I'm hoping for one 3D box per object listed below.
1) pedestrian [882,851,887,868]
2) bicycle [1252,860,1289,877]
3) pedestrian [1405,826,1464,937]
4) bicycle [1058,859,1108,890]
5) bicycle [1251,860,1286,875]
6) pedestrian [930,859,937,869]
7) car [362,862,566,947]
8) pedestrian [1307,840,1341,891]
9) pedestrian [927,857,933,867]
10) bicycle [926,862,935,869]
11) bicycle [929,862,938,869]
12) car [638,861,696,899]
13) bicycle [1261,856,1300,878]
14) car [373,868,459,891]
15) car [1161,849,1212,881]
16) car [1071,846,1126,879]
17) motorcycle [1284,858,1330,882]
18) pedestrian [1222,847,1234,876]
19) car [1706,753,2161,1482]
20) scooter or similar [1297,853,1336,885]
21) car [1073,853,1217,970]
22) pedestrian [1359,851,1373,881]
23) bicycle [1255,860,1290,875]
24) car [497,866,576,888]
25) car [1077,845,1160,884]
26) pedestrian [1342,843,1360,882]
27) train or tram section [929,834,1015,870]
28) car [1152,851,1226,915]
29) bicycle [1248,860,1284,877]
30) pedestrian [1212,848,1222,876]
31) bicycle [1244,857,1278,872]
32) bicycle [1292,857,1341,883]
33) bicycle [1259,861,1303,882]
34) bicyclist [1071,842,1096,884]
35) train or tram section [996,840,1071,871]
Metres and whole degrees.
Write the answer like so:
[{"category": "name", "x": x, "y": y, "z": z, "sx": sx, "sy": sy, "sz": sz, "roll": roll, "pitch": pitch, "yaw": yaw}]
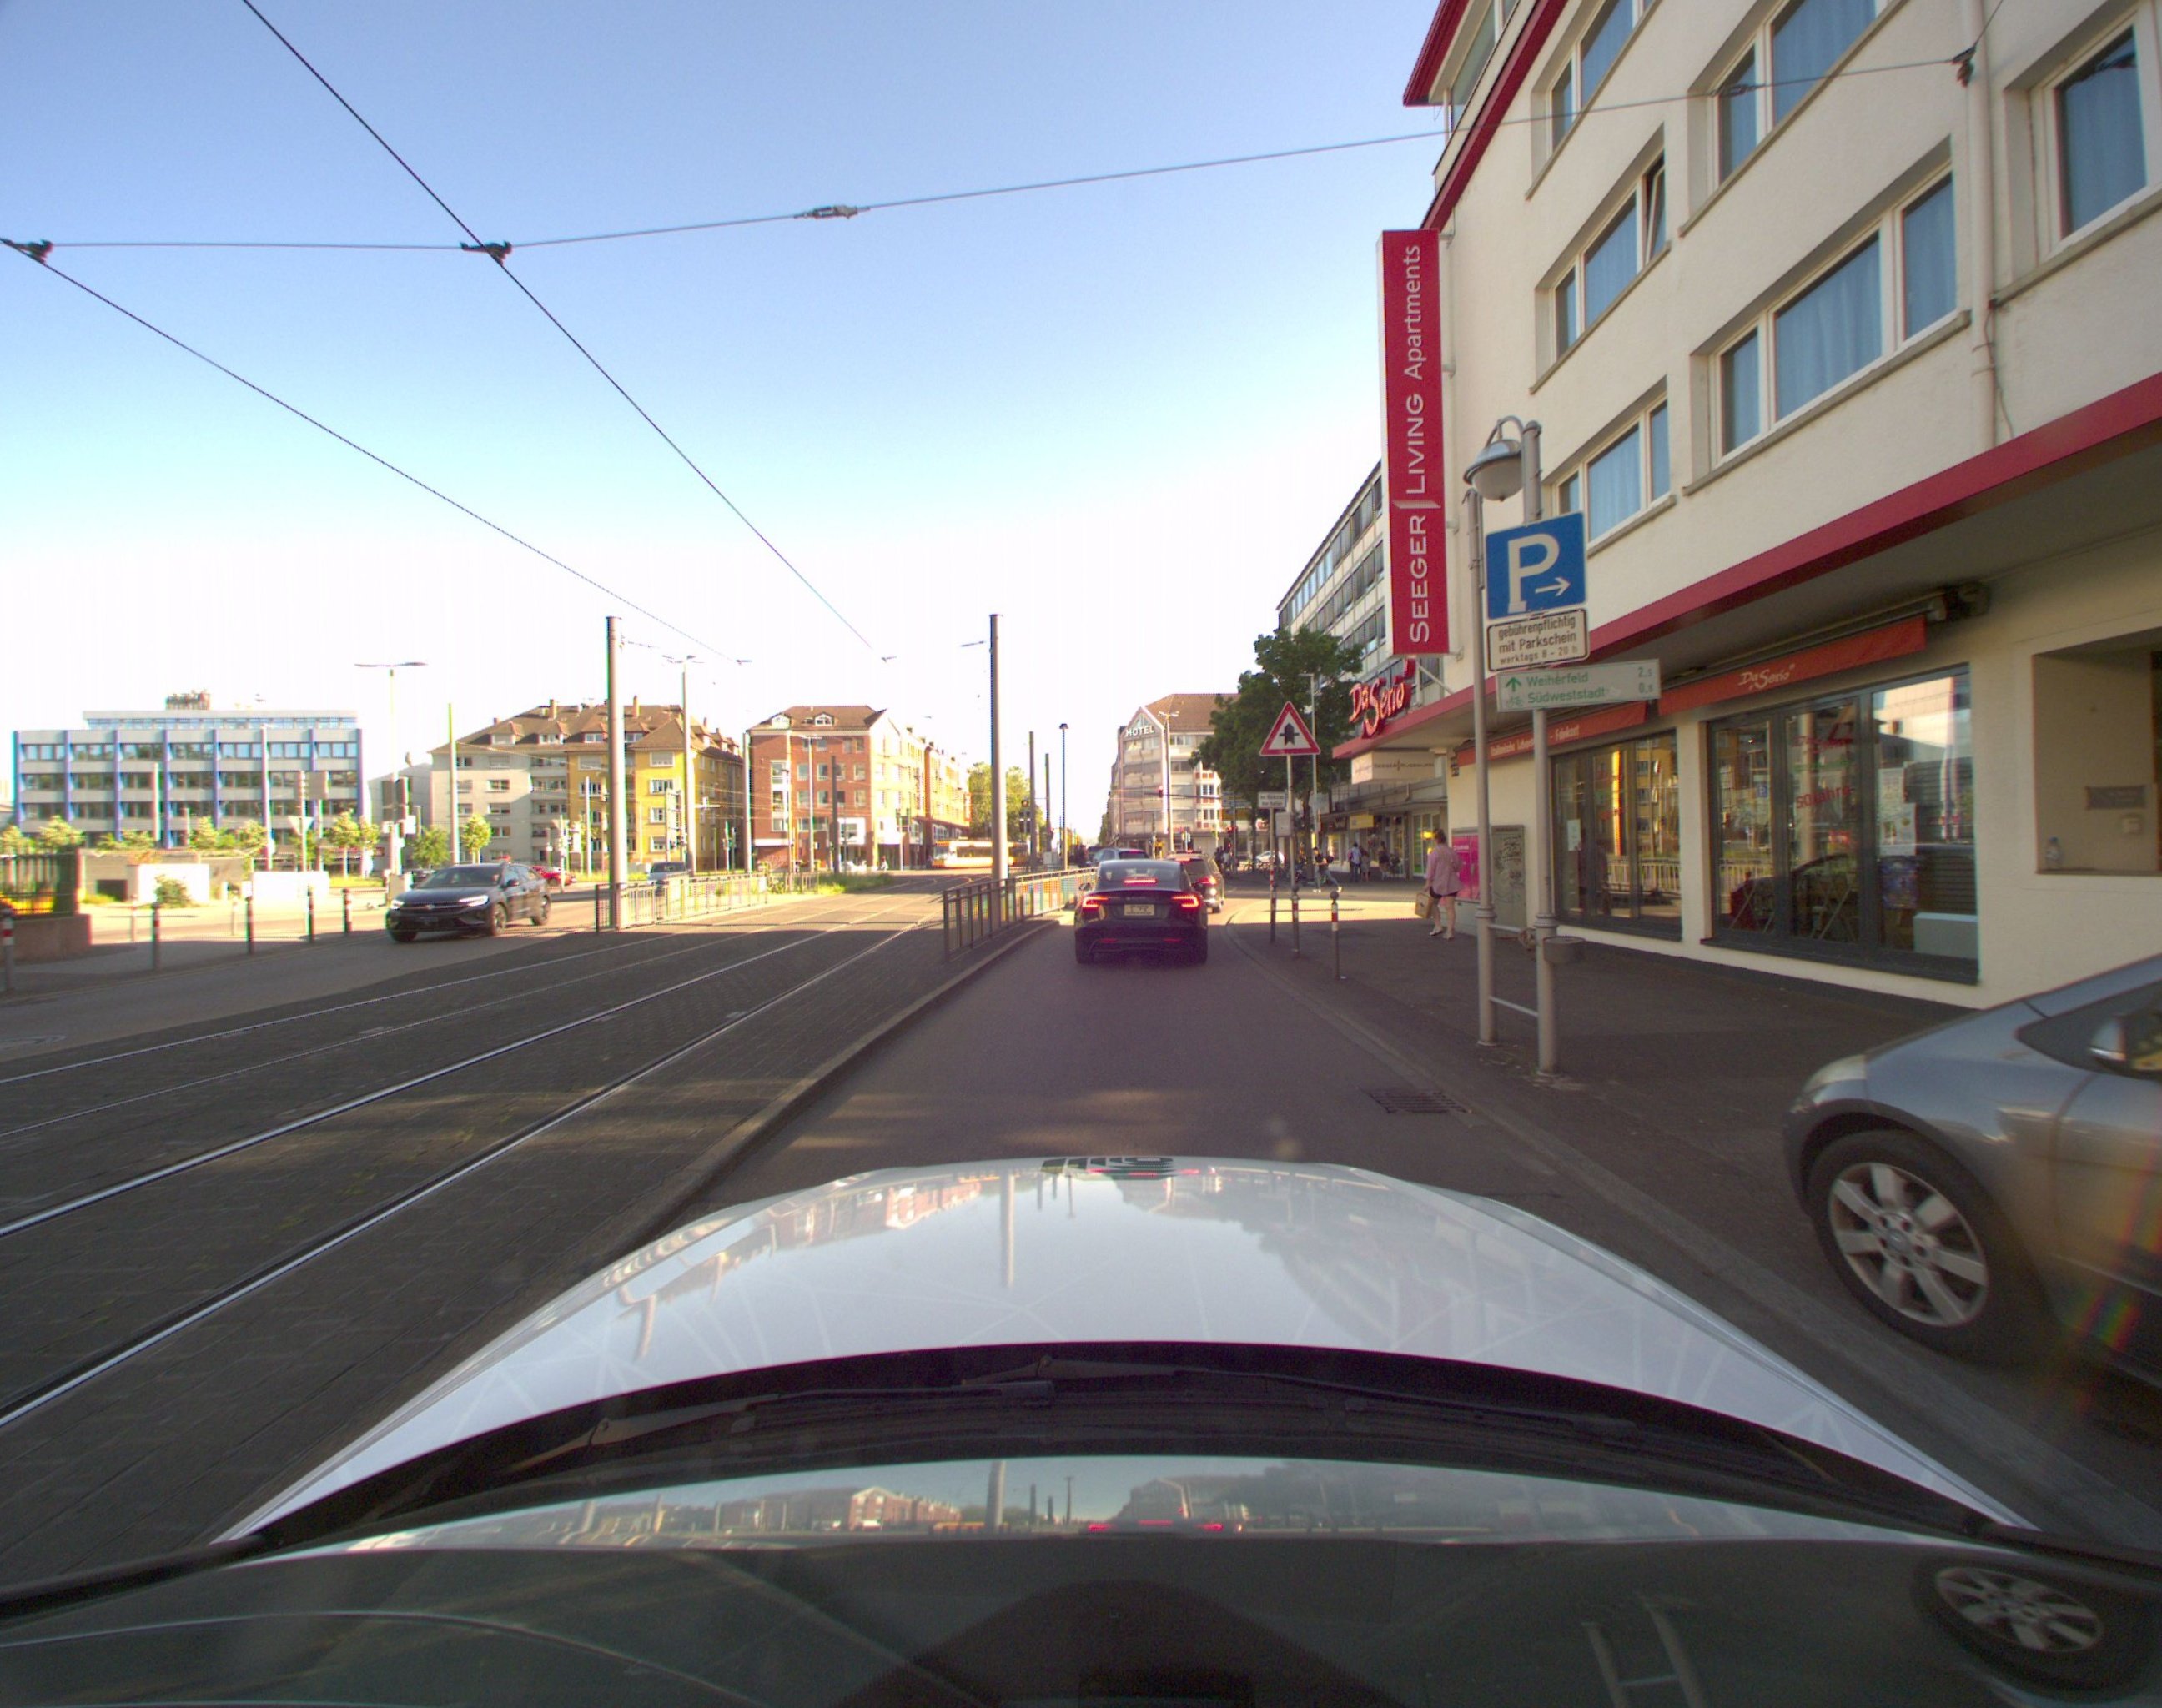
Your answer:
[{"category": "pedestrian", "x": -23.685, "y": 0.705, "z": 98.135, "sx": 0.565, "sy": 2.014, "sz": 0.349, "roll": 1, "pitch": -1, "yaw": -14}, {"category": "bicycle", "x": 10.520, "y": 0.800, "z": 45.259, "sx": 1.917, "sy": 0.950, "sz": 0.526, "roll": 0, "pitch": -1, "yaw": 2}, {"category": "pedestrian", "x": 5.588, "y": 0.417, "z": 12.877, "sx": 0.810, "sy": 1.683, "sz": 0.718, "roll": 1, "pitch": -1, "yaw": 24}, {"category": "bicycle", "x": 0.065, "y": 0.751, "z": 29.655, "sx": 1.726, "sy": 1.088, "sz": 0.676, "roll": 1, "pitch": -1, "yaw": -7}, {"category": "bicycle", "x": 11.115, "y": 0.787, "z": 48.317, "sx": 1.917, "sy": 0.890, "sz": 0.526, "roll": 0, "pitch": -1, "yaw": 2}, {"category": "pedestrian", "x": -19.767, "y": 1.303, "z": 109.146, "sx": 0.694, "sy": 1.308, "sz": 0.564, "roll": -1, "pitch": 0, "yaw": 0}, {"category": "car", "x": -12.786, "y": 0.945, "z": 17.242, "sx": 1.766, "sy": 1.512, "sz": 4.262, "roll": -1, "pitch": 0, "yaw": -12}, {"category": "pedestrian", "x": 8.399, "y": 0.406, "z": 28.158, "sx": 1.009, "sy": 1.742, "sz": 0.524, "roll": 1, "pitch": -1, "yaw": -24}, {"category": "pedestrian", "x": -19.805, "y": 1.074, "z": 106.943, "sx": 0.708, "sy": 1.342, "sz": 0.666, "roll": -1, "pitch": 0, "yaw": 1}, {"category": "bicycle", "x": -19.795, "y": 1.550, "z": 106.998, "sx": 0.699, "sy": 0.855, "sz": 2.054, "roll": -1, "pitch": 0, "yaw": 1}, {"category": "bicycle", "x": -19.768, "y": 1.516, "z": 109.254, "sx": 0.699, "sy": 0.855, "sz": 2.054, "roll": -1, "pitch": 0, "yaw": 1}, {"category": "car", "x": -19.272, "y": 1.168, "z": 38.095, "sx": 1.788, "sy": 1.568, "sz": 4.264, "roll": -2, "pitch": 0, "yaw": -19}, {"category": "bicycle", "x": 10.370, "y": 0.686, "z": 42.408, "sx": 1.917, "sy": 1.097, "sz": 0.555, "roll": 0, "pitch": -1, "yaw": 2}, {"category": "car", "x": -45.623, "y": 1.741, "z": 55.949, "sx": 4.143, "sy": 1.490, "sz": 1.933, "roll": 0, "pitch": 0, "yaw": -8}, {"category": "car", "x": 5.183, "y": 0.531, "z": 40.281, "sx": 1.821, "sy": 1.519, "sz": 3.644, "roll": 1, "pitch": 0, "yaw": -4}, {"category": "car", "x": 0.795, "y": 0.390, "z": 40.179, "sx": 1.825, "sy": 1.519, "sz": 4.201, "roll": 1, "pitch": 0, "yaw": -11}, {"category": "motorcycle", "x": 10.575, "y": 0.746, "z": 38.145, "sx": 1.984, "sy": 1.128, "sz": 0.596, "roll": 1, "pitch": -1, "yaw": 1}, {"category": "pedestrian", "x": 8.364, "y": 0.415, "z": 46.256, "sx": 0.626, "sy": 1.613, "sz": 0.644, "roll": 0, "pitch": 0, "yaw": 5}, {"category": "car", "x": 3.245, "y": 0.563, "z": 1.293, "sx": 1.739, "sy": 1.632, "sz": 3.650, "roll": -2, "pitch": 0, "yaw": 2}, {"category": "scooter or similar", "x": 9.766, "y": 0.624, "z": 33.773, "sx": 1.415, "sy": 1.317, "sz": 0.691, "roll": 0, "pitch": -2, "yaw": -24}, {"category": "car", "x": 0.826, "y": 0.752, "z": 12.310, "sx": 1.843, "sy": 1.484, "sz": 3.786, "roll": 0, "pitch": 0, "yaw": 0}, {"category": "pedestrian", "x": 12.474, "y": 0.524, "z": 35.682, "sx": 0.418, "sy": 1.280, "sz": 0.531, "roll": -2, "pitch": -1, "yaw": 3}, {"category": "bicycle", "x": 11.108, "y": 0.773, "z": 47.261, "sx": 1.917, "sy": 0.888, "sz": 0.526, "roll": 0, "pitch": -1, "yaw": 2}, {"category": "car", "x": -37.869, "y": 1.573, "z": 56.741, "sx": 4.143, "sy": 1.490, "sz": 1.933, "roll": 0, "pitch": 0, "yaw": -8}, {"category": "car", "x": 1.468, "y": 0.431, "z": 33.860, "sx": 1.791, "sy": 1.519, "sz": 4.185, "roll": 1, "pitch": 0, "yaw": -24}, {"category": "pedestrian", "x": 11.749, "y": 0.369, "z": 35.421, "sx": 0.593, "sy": 1.641, "sz": 0.466, "roll": -2, "pitch": -1, "yaw": 3}, {"category": "train or tram section", "x": -12.043, "y": -0.154, "z": 92.247, "sx": 2.651, "sy": 3.715, "sz": 14.269, "roll": 1, "pitch": 0, "yaw": 23}, {"category": "car", "x": 2.799, "y": 0.646, "z": 20.543, "sx": 1.643, "sy": 1.418, "sz": 4.012, "roll": 1, "pitch": 1, "yaw": 10}, {"category": "bicycle", "x": 10.514, "y": 0.805, "z": 46.276, "sx": 1.917, "sy": 0.950, "sz": 0.526, "roll": 0, "pitch": -1, "yaw": 2}, {"category": "pedestrian", "x": 8.081, "y": 0.459, "z": 48.413, "sx": 0.559, "sy": 1.683, "sz": 0.751, "roll": 0, "pitch": 0, "yaw": 6}, {"category": "bicycle", "x": 10.942, "y": 0.666, "z": 49.504, "sx": 1.917, "sy": 0.890, "sz": 0.526, "roll": 0, "pitch": -1, "yaw": 2}, {"category": "bicycle", "x": 10.446, "y": 0.717, "z": 36.139, "sx": 2.043, "sy": 1.121, "sz": 0.483, "roll": 0, "pitch": -1, "yaw": 2}, {"category": "bicycle", "x": 9.907, "y": 0.871, "z": 40.336, "sx": 2.043, "sy": 0.982, "sz": 0.483, "roll": 0, "pitch": -1, "yaw": 2}, {"category": "bicyclist", "x": 0.084, "y": 0.334, "z": 29.736, "sx": 0.835, "sy": 1.500, "sz": 0.559, "roll": 1, "pitch": -1, "yaw": -7}, {"category": "train or tram section", "x": -5.892, "y": 0.224, "z": 105.818, "sx": 2.612, "sy": 3.718, "sz": 15.474, "roll": 1, "pitch": 0, "yaw": 25}]
